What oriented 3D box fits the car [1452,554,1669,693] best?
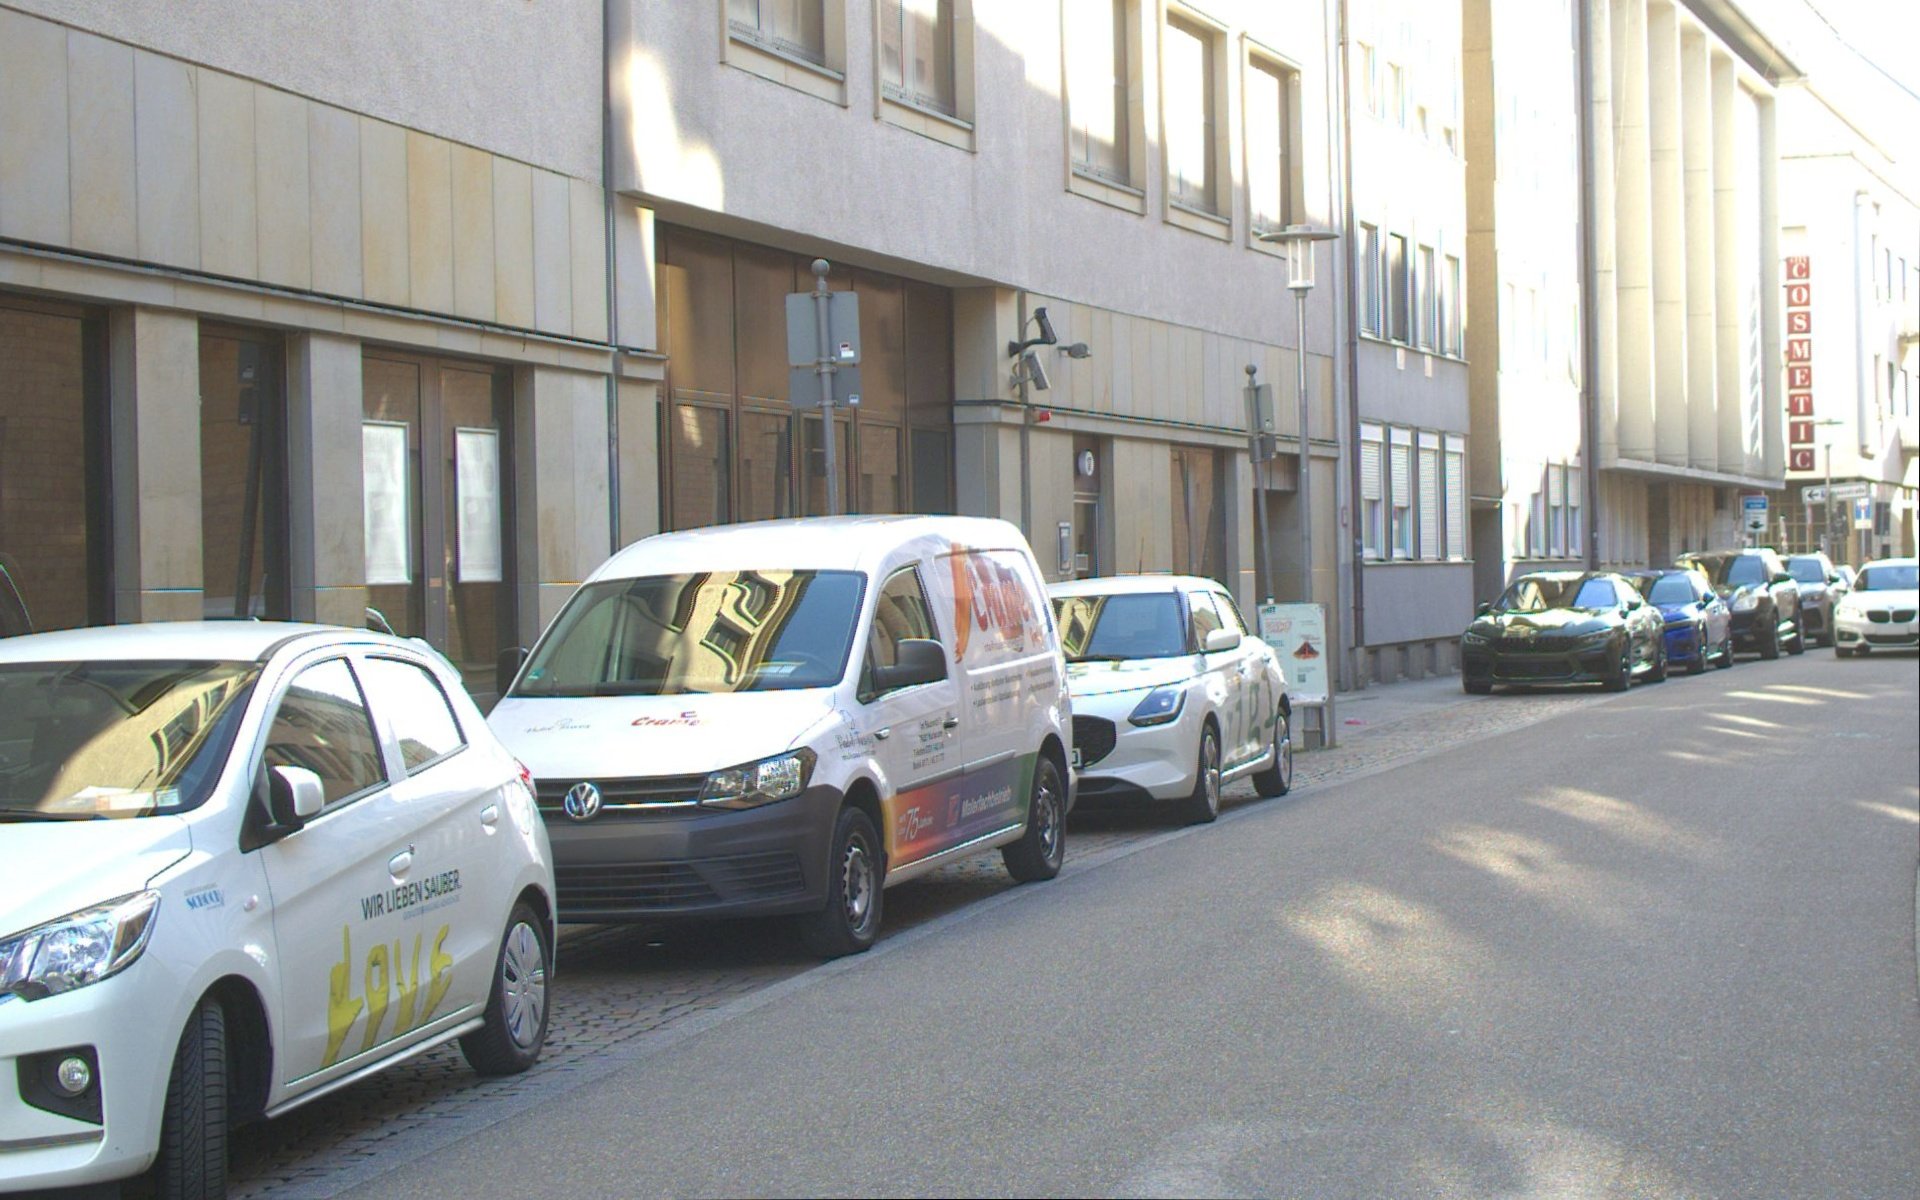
[{"bbox_3d":[7.285,0.240,41.357,1.891,1.525,4.725,-1,1,18],"label":"car"}]

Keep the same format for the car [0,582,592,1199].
[{"bbox_3d":[-2.460,0.746,9.733,1.738,1.487,3.798,-3,0,11],"label":"car"}]

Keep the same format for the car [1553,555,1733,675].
[{"bbox_3d":[9.423,0.178,47.196,1.891,1.525,4.336,-1,1,18],"label":"car"}]

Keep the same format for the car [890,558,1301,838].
[{"bbox_3d":[0.944,0.551,21.536,1.671,1.517,3.773,-3,0,16],"label":"car"}]

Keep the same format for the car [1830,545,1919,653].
[{"bbox_3d":[14.021,-0.051,51.313,1.716,1.512,4.156,-1,1,18],"label":"car"}]

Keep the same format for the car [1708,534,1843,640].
[{"bbox_3d":[14.147,-0.247,59.513,1.891,1.736,4.387,-1,1,18],"label":"car"}]

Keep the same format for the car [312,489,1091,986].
[{"bbox_3d":[-0.933,0.506,15.453,1.900,1.851,4.730,-2,0,16],"label":"car"}]

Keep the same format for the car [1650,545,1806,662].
[{"bbox_3d":[11.865,0.023,52.931,1.891,1.670,4.549,-1,1,18],"label":"car"}]
